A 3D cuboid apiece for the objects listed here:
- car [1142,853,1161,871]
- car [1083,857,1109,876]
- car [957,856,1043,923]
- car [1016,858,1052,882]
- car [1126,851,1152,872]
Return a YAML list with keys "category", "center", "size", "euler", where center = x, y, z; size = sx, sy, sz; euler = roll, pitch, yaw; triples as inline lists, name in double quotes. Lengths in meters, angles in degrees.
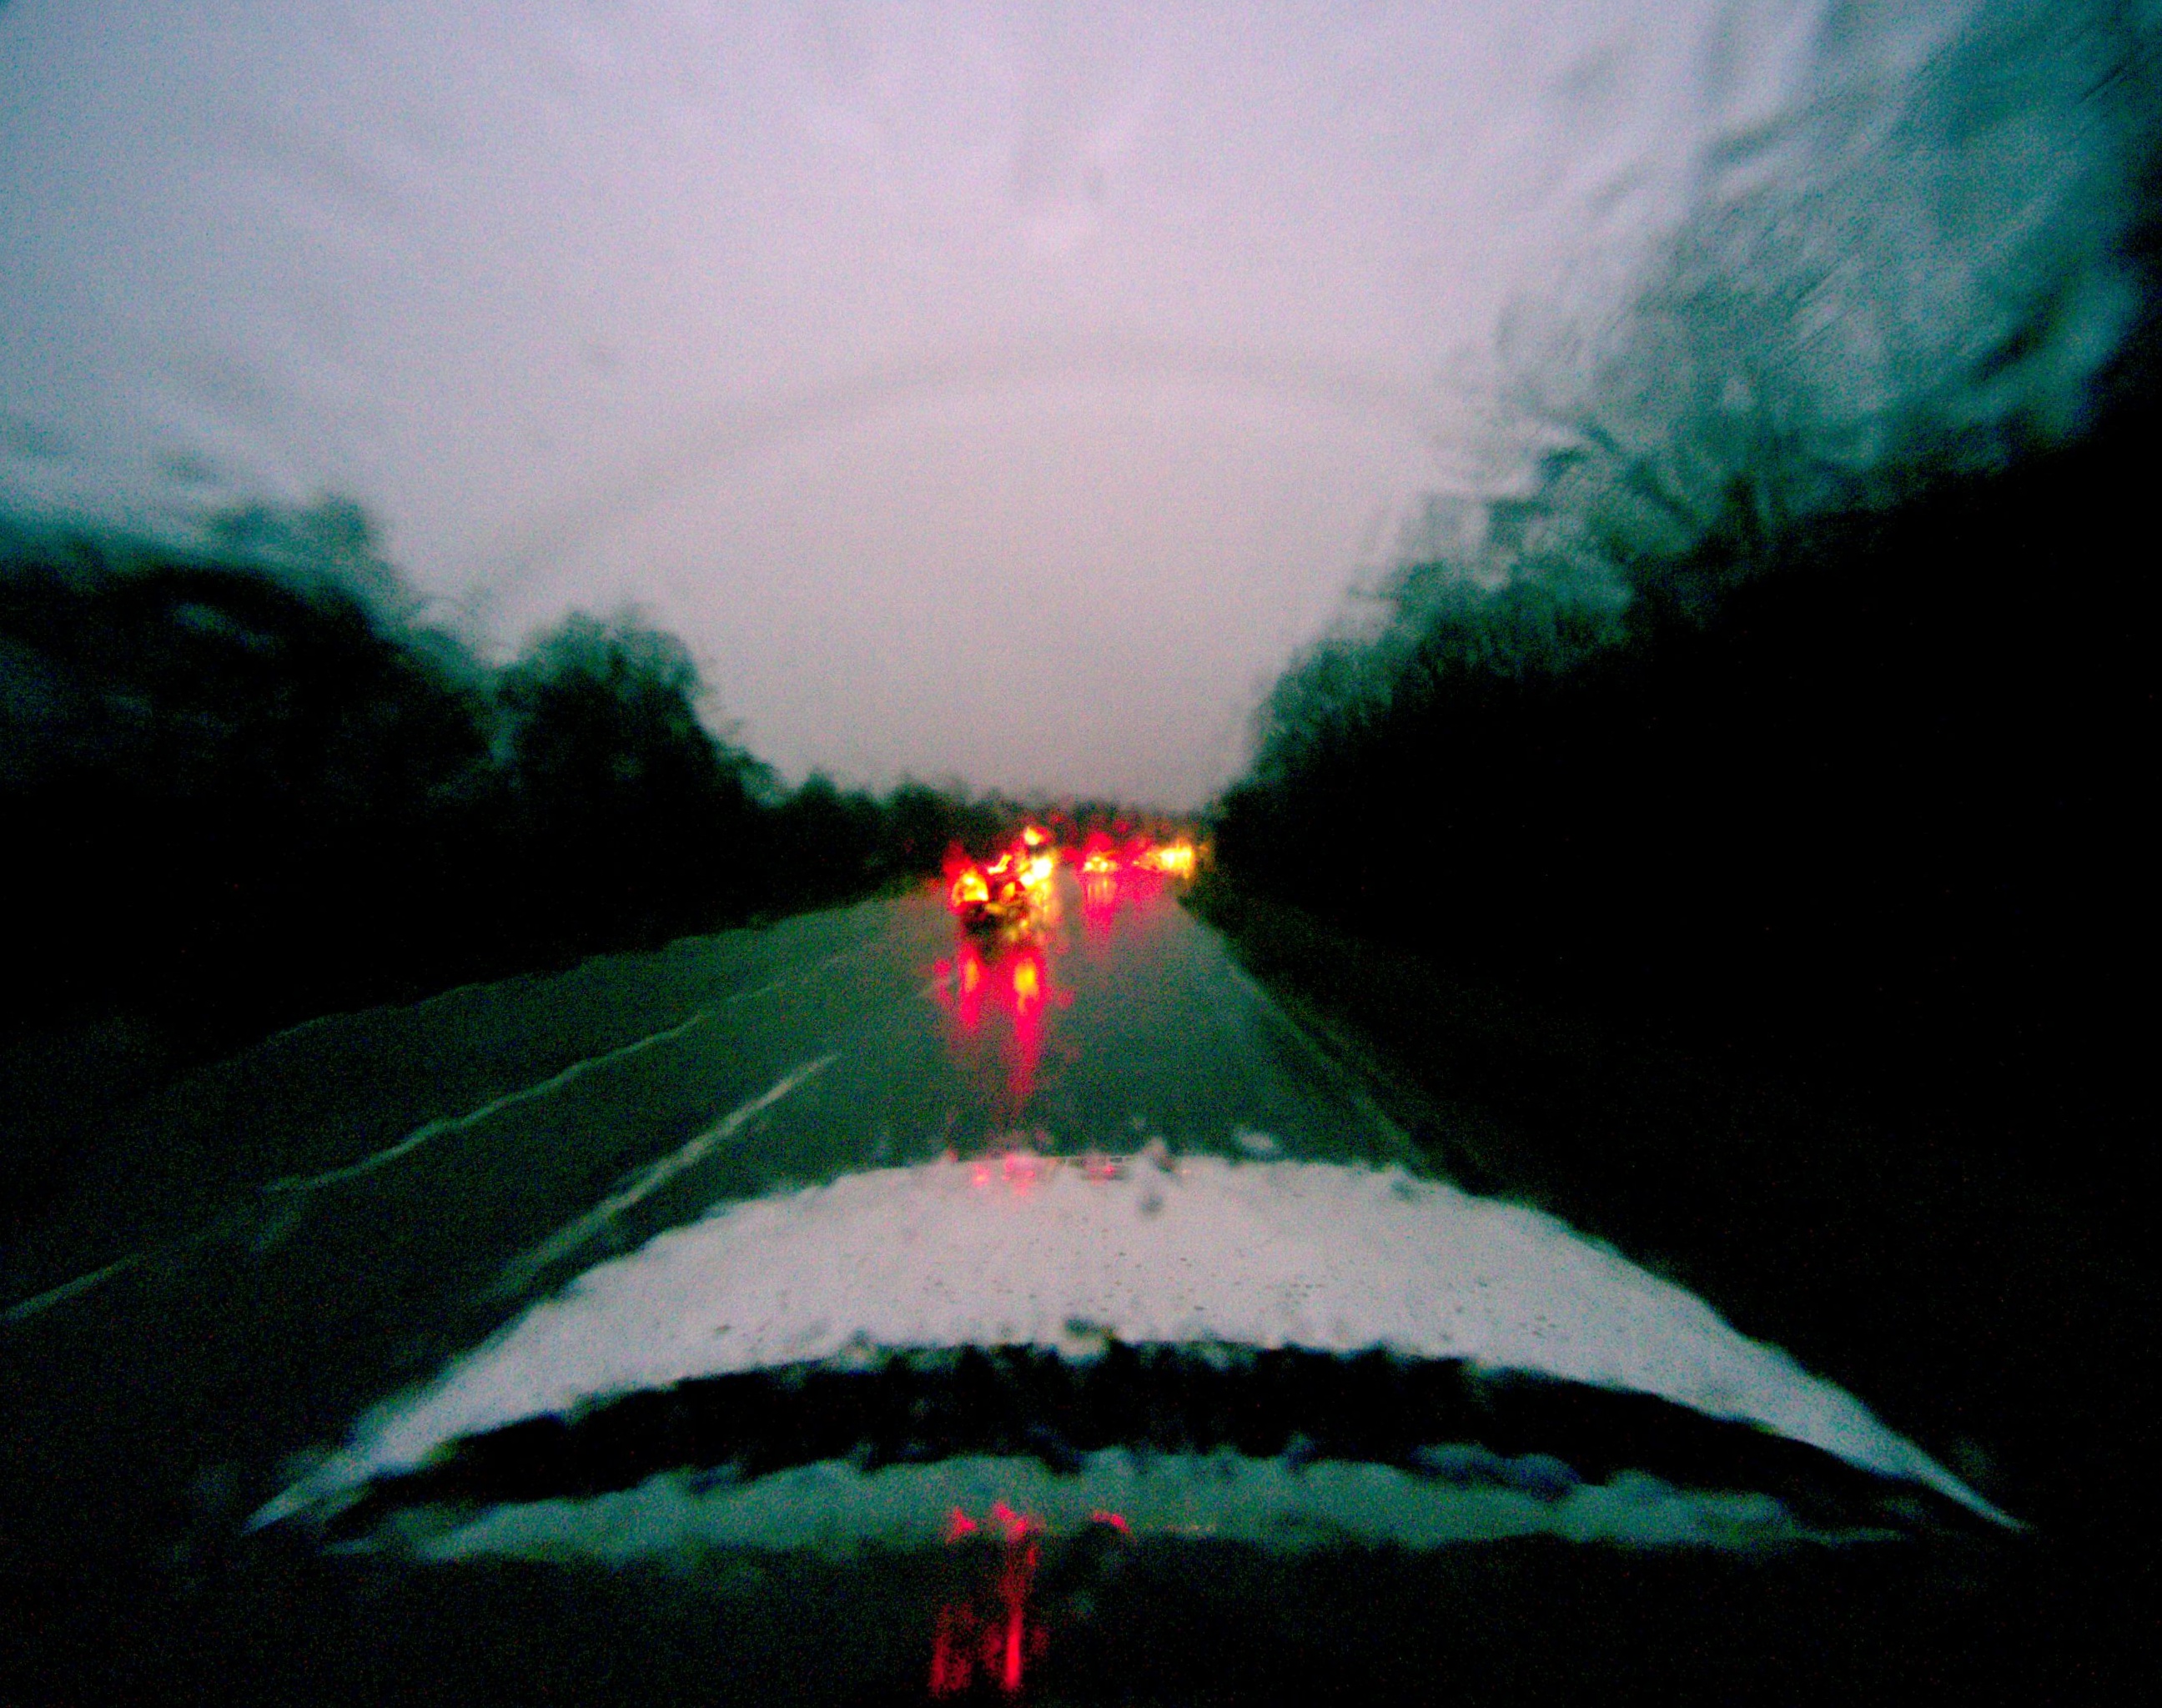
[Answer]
- category: "car"
  center: [7.134, 0.813, 81.933]
  size: [1.669, 1.675, 4.107]
  euler: [-1, 0, 7]
- category: "car"
  center: [1.303, 1.033, 69.370]
  size: [1.996, 1.556, 4.521]
  euler: [0, 0, 4]
- category: "car"
  center: [-1.823, 0.763, 19.501]
  size: [1.627, 1.421, 4.170]
  euler: [1, 0, 0]
- category: "car"
  center: [-3.322, 1.103, 58.530]
  size: [1.985, 1.649, 4.727]
  euler: [0, 0, 4]
- category: "car"
  center: [4.182, 0.499, 58.254]
  size: [1.670, 1.389, 4.104]
  euler: [-1, 0, 5]
